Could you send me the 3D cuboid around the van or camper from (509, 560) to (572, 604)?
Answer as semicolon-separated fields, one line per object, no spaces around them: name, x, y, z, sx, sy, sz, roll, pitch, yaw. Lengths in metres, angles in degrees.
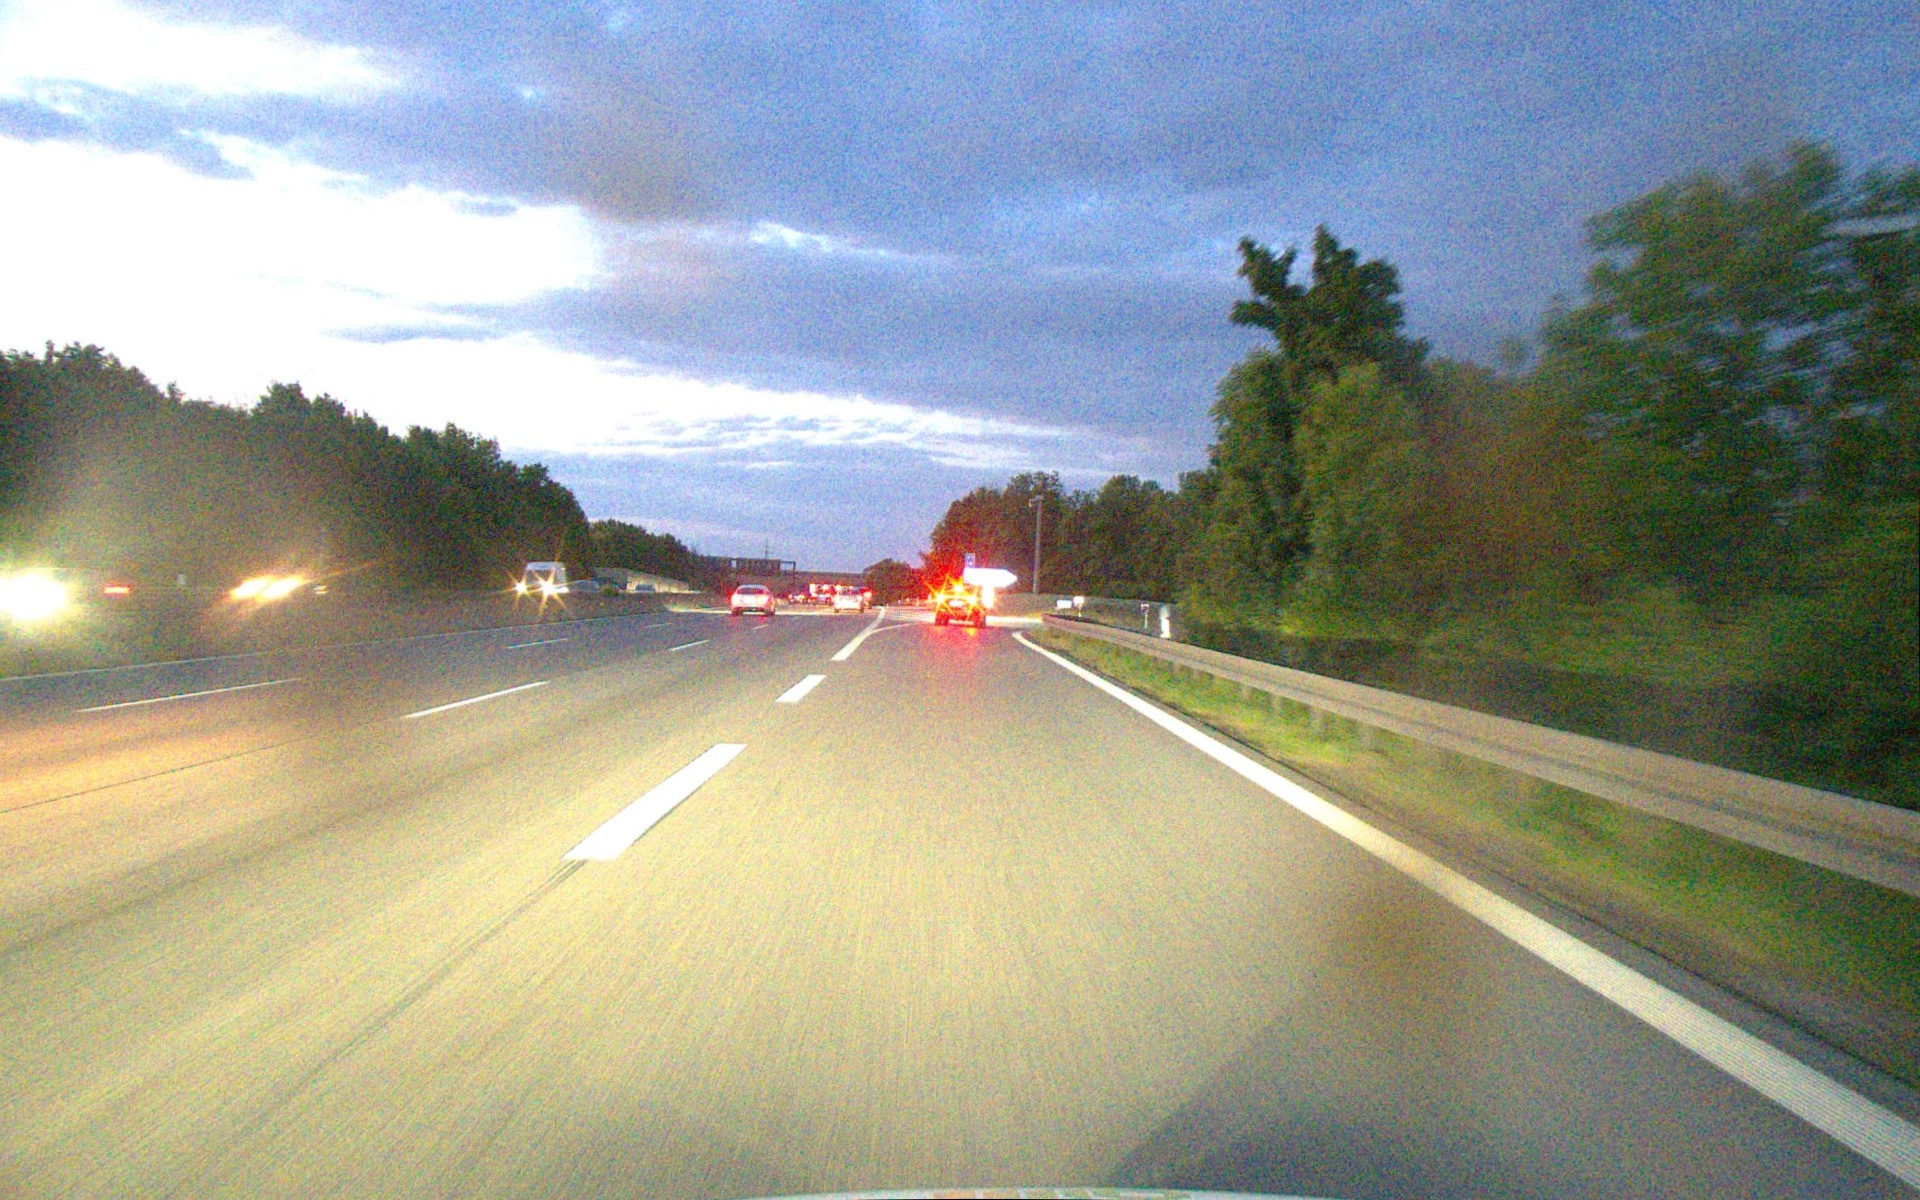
van or camper;-26.462;-1.095;104.633;2.466;2.640;6.486;1;0;-2

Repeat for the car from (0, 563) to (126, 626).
car;-23.770;-0.165;43.209;1.953;1.573;3.999;1;1;-1

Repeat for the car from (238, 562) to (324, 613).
car;-28.293;-0.535;69.058;1.987;2.049;4.236;1;1;-3

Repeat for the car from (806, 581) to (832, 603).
car;-13.462;-0.812;157.944;2.028;2.049;4.001;0;1;1

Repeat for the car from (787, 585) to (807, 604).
car;-18.325;-0.633;185.779;2.064;2.049;3.994;0;1;-7

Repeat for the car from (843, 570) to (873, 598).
car;-7.647;-1.226;124.639;1.952;2.049;4.000;0;1;0

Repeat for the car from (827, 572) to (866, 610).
car;-6.439;-0.511;94.210;1.953;2.049;4.000;1;0;0

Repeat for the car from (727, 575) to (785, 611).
car;-9.709;-0.348;78.902;1.952;1.671;4.557;1;1;3

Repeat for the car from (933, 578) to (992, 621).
car;0.121;-0.035;68.513;1.951;1.688;4.318;1;1;6
